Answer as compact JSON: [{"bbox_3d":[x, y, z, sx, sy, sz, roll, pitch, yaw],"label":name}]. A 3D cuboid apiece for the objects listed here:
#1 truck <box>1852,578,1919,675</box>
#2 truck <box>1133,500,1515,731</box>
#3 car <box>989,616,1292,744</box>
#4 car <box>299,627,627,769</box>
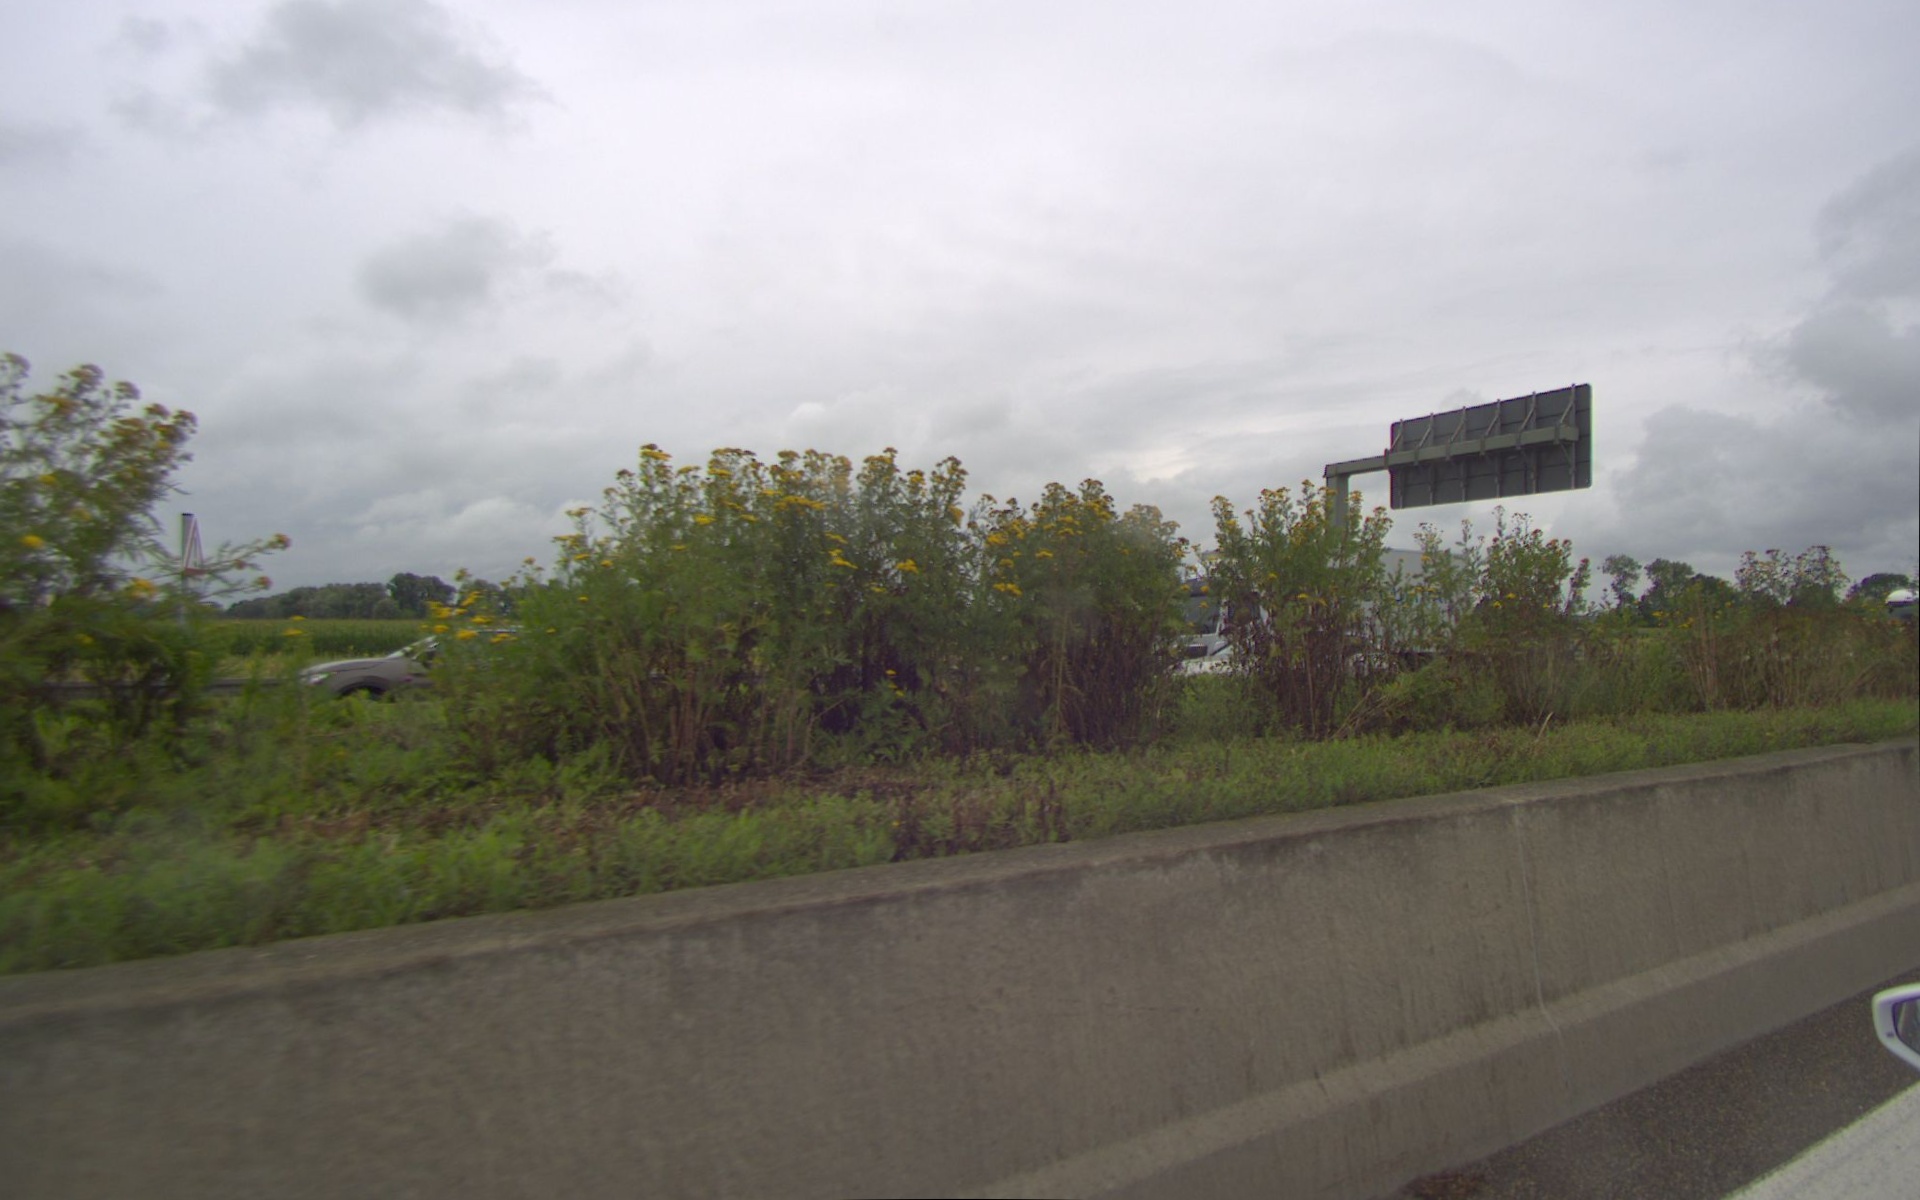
[{"bbox_3d":[44.465,1.251,45.135,10.679,4.020,3.170,2,0,-29],"label":"truck"},{"bbox_3d":[8.965,0.426,24.240,9.560,4.711,3.210,2,0,-30],"label":"truck"},{"bbox_3d":[2.863,1.158,15.768,4.407,1.719,1.985,1,0,-29],"label":"car"},{"bbox_3d":[-7.045,1.290,14.451,3.953,1.728,1.984,1,0,-30],"label":"car"}]
